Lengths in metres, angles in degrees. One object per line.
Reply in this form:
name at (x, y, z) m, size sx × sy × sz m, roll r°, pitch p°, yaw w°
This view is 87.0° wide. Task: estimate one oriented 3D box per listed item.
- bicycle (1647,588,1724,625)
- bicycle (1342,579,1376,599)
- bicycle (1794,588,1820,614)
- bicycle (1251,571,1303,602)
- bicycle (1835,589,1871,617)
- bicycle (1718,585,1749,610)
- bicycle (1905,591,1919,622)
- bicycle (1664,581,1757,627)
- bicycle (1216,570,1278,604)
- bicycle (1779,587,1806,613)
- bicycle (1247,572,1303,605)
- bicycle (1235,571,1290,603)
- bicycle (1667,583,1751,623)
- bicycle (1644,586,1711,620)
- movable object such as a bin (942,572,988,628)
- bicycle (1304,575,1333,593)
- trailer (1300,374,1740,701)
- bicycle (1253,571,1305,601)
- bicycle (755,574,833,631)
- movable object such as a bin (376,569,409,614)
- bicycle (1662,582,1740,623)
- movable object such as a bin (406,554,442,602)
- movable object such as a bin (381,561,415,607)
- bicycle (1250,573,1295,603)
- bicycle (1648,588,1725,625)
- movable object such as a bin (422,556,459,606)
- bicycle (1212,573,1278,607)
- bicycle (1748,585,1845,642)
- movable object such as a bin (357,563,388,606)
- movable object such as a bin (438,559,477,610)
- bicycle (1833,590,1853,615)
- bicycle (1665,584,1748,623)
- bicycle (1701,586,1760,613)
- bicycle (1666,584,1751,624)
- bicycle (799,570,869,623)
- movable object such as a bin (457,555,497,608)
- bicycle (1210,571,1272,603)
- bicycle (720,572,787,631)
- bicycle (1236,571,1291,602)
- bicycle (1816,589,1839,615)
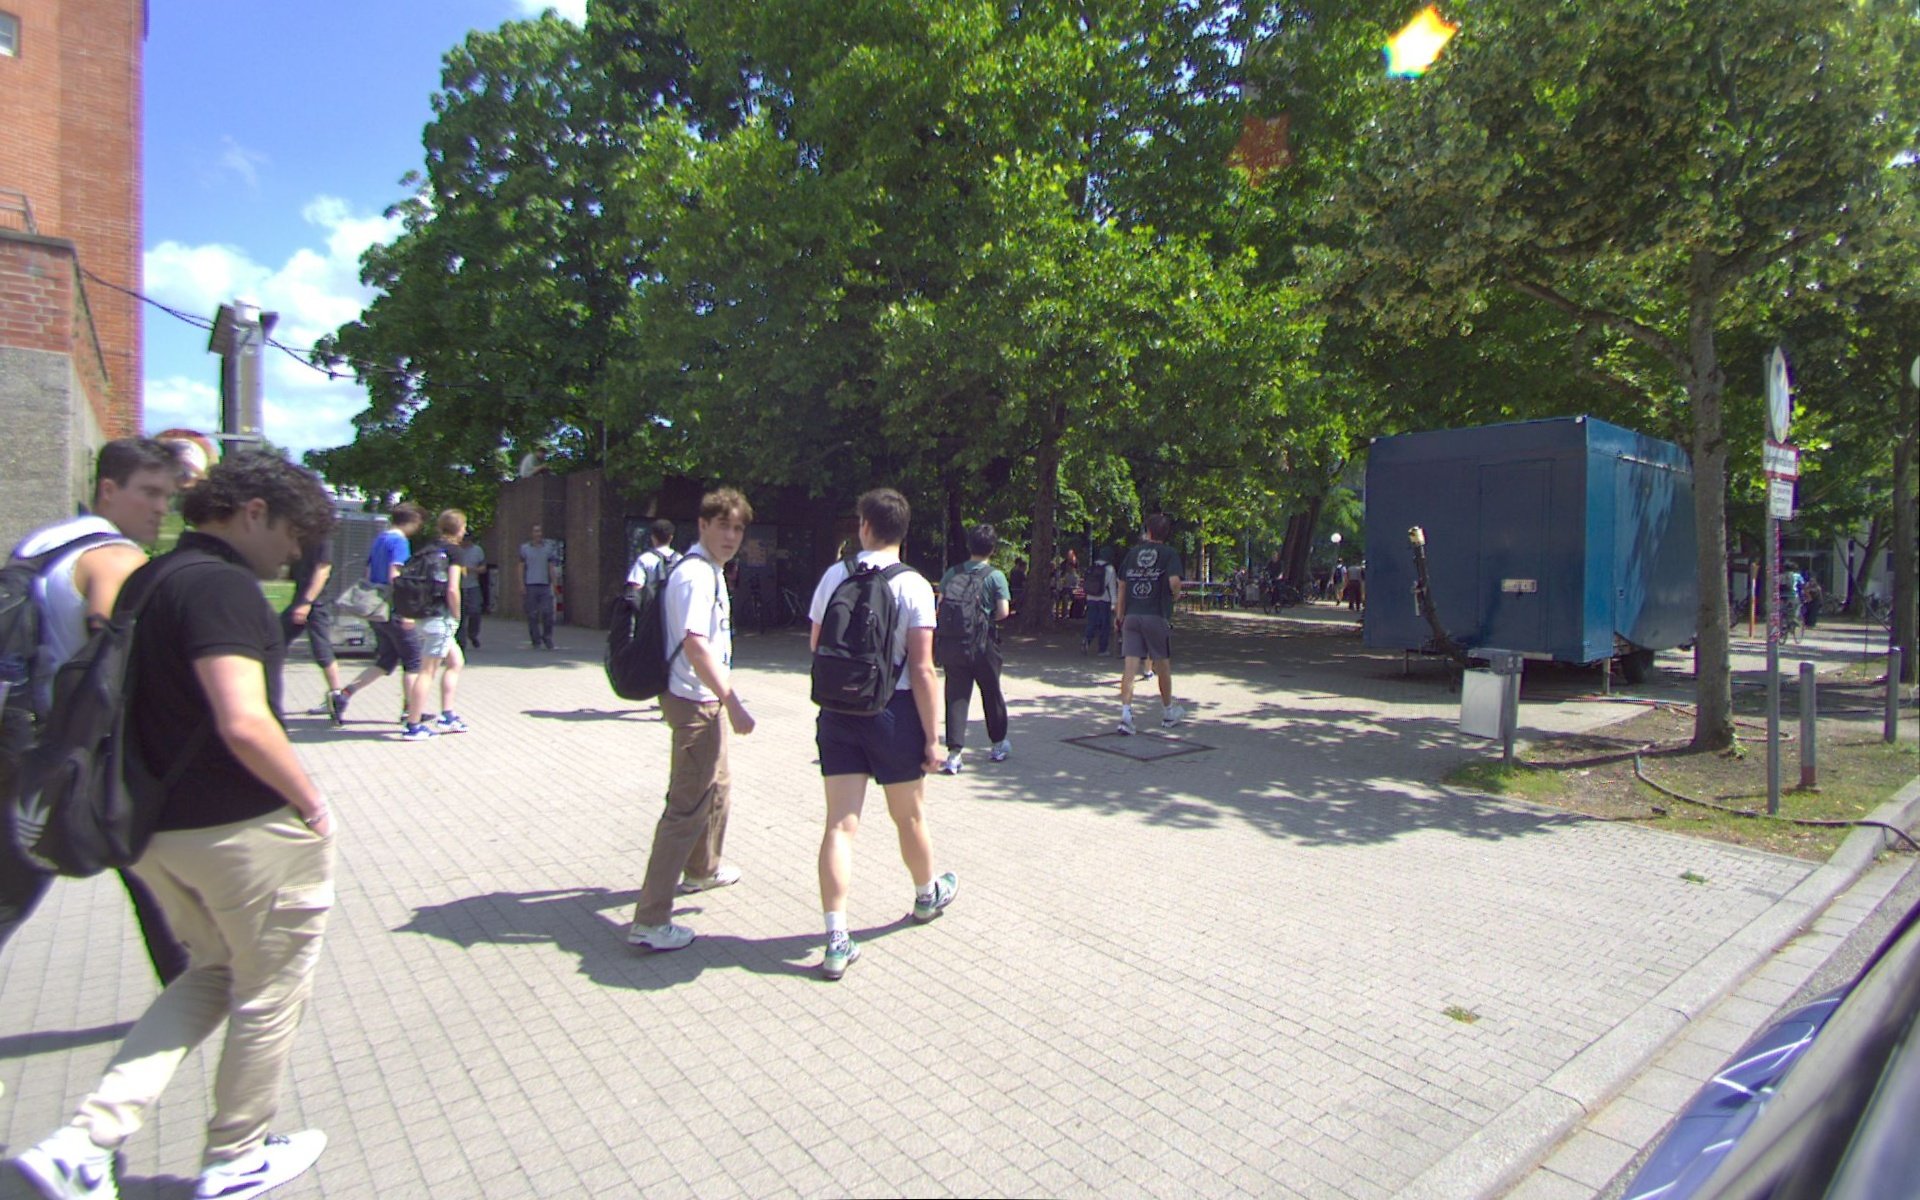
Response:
bicycle at (22.743, 0.186, 31.767) m, size 1.896 × 1.072 × 0.322 m, roll 3°, pitch 1°, yaw 29°
bicycle at (22.228, -0.597, 56.390) m, size 1.658 × 1.098 × 0.478 m, roll 0°, pitch -1°, yaw 6°
bicycle at (39.582, 0.052, 47.269) m, size 1.486 × 1.099 × 0.482 m, roll 2°, pitch 2°, yaw -34°
bicycle at (11.648, -0.516, 37.192) m, size 1.739 × 1.052 × 0.344 m, roll 3°, pitch 2°, yaw 31°
bicycle at (40.332, 0.123, 45.719) m, size 1.494 × 1.155 × 0.493 m, roll 3°, pitch 1°, yaw -20°
bicycle at (36.079, -0.103, 47.207) m, size 1.791 × 1.091 × 0.464 m, roll 3°, pitch 2°, yaw -31°
bicycle at (37.534, 0.254, 39.422) m, size 0.623 × 1.097 × 1.673 m, roll 0°, pitch 3°, yaw 28°
bicycle at (20.836, 0.098, 28.107) m, size 2.012 × 1.181 × 0.642 m, roll 3°, pitch 2°, yaw 40°
bicycle at (9.684, -0.434, 34.198) m, size 1.945 × 1.052 × 0.430 m, roll 4°, pitch 3°, yaw 33°
bicycle at (39.061, 0.006, 47.476) m, size 1.663 × 1.099 × 0.482 m, roll 2°, pitch 2°, yaw -34°
bicycle at (10.814, -0.418, 34.783) m, size 1.770 × 1.052 × 0.430 m, roll 3°, pitch 3°, yaw 31°
bicycle at (10.679, -0.472, 35.789) m, size 1.770 × 1.052 × 0.473 m, roll 3°, pitch 3°, yaw 30°
bicycle at (22.033, 0.079, 29.787) m, size 1.941 × 1.095 × 0.399 m, roll 3°, pitch 2°, yaw 40°
bicycle at (23.759, 0.086, 33.528) m, size 1.714 × 1.065 × 0.492 m, roll 2°, pitch 1°, yaw 15°
movable object such as a bin at (0.100, -0.005, 20.503) m, size 0.729 × 1.084 × 0.601 m, roll -2°, pitch 3°, yaw -38°
bicycle at (22.502, -1.006, 63.521) m, size 1.655 × 1.098 × 0.479 m, roll 1°, pitch -1°, yaw -2°
trailer at (7.169, -0.666, 12.608) m, size 6.147 × 3.089 × 2.698 m, roll 0°, pitch 3°, yaw -40°
bicycle at (11.823, -0.523, 37.503) m, size 1.739 × 1.052 × 0.473 m, roll 3°, pitch 3°, yaw 30°
bicycle at (-3.495, 0.020, 21.114) m, size 0.767 × 1.085 × 2.407 m, roll 0°, pitch 2°, yaw -31°
movable object such as a bin at (-17.431, -0.261, 31.079) m, size 0.753 × 1.337 × 0.784 m, roll 1°, pitch 0°, yaw -39°
bicycle at (21.321, 0.067, 29.155) m, size 1.765 × 1.095 × 0.432 m, roll 3°, pitch 2°, yaw 40°
movable object such as a bin at (-15.291, -0.618, 28.868) m, size 0.753 × 1.337 × 0.784 m, roll 1°, pitch 0°, yaw -39°
movable object such as a bin at (-16.706, -0.465, 30.072) m, size 0.753 × 1.337 × 0.784 m, roll 1°, pitch 0°, yaw -39°
bicycle at (12.113, -0.477, 39.234) m, size 1.600 × 1.107 × 0.344 m, roll 3°, pitch 3°, yaw 33°
bicycle at (22.591, 0.192, 31.500) m, size 1.896 × 1.072 × 0.322 m, roll 3°, pitch 1°, yaw 29°
movable object such as a bin at (-14.260, -0.530, 27.774) m, size 0.753 × 1.337 × 0.784 m, roll 1°, pitch 0°, yaw -39°
bicycle at (9.253, -0.346, 32.928) m, size 1.945 × 0.991 × 0.606 m, roll 4°, pitch 3°, yaw 33°
bicycle at (18.209, 0.288, 22.017) m, size 2.249 × 1.137 × 0.654 m, roll 1°, pitch 4°, yaw -25°
movable object such as a bin at (-18.908, -0.506, 32.569) m, size 0.753 × 1.337 × 0.784 m, roll 1°, pitch 0°, yaw -39°
movable object such as a bin at (-13.455, -0.411, 27.082) m, size 0.753 × 1.337 × 0.784 m, roll 1°, pitch 0°, yaw -39°
bicycle at (40.531, 0.119, 46.453) m, size 1.415 × 1.099 × 0.460 m, roll 2°, pitch 2°, yaw -42°
bicycle at (22.395, 0.095, 30.392) m, size 1.941 × 1.095 × 0.399 m, roll 3°, pitch 2°, yaw 40°
bicycle at (33.768, -0.045, 44.371) m, size 1.897 × 1.123 × 0.630 m, roll 1°, pitch 2°, yaw 15°
bicycle at (21.774, 0.103, 29.449) m, size 1.941 × 1.095 × 0.399 m, roll 3°, pitch 2°, yaw 40°
bicycle at (-2.779, -0.099, 22.040) m, size 0.767 × 1.085 × 2.408 m, roll 0°, pitch 1°, yaw -27°
movable object such as a bin at (-12.390, -0.471, 25.967) m, size 0.753 × 1.337 × 0.784 m, roll 1°, pitch 0°, yaw -39°
bicycle at (9.399, -0.447, 33.866) m, size 1.945 × 0.991 × 0.433 m, roll 4°, pitch 3°, yaw 33°
bicycle at (-4.237, 0.001, 20.606) m, size 0.767 × 1.085 × 2.409 m, roll 0°, pitch 2°, yaw -26°
bicycle at (10.968, -0.505, 36.618) m, size 1.817 × 1.052 × 0.473 m, roll 3°, pitch 3°, yaw 30°
bicycle at (39.960, 0.090, 46.595) m, size 1.447 × 1.099 × 0.460 m, roll 2°, pitch 2°, yaw -38°
